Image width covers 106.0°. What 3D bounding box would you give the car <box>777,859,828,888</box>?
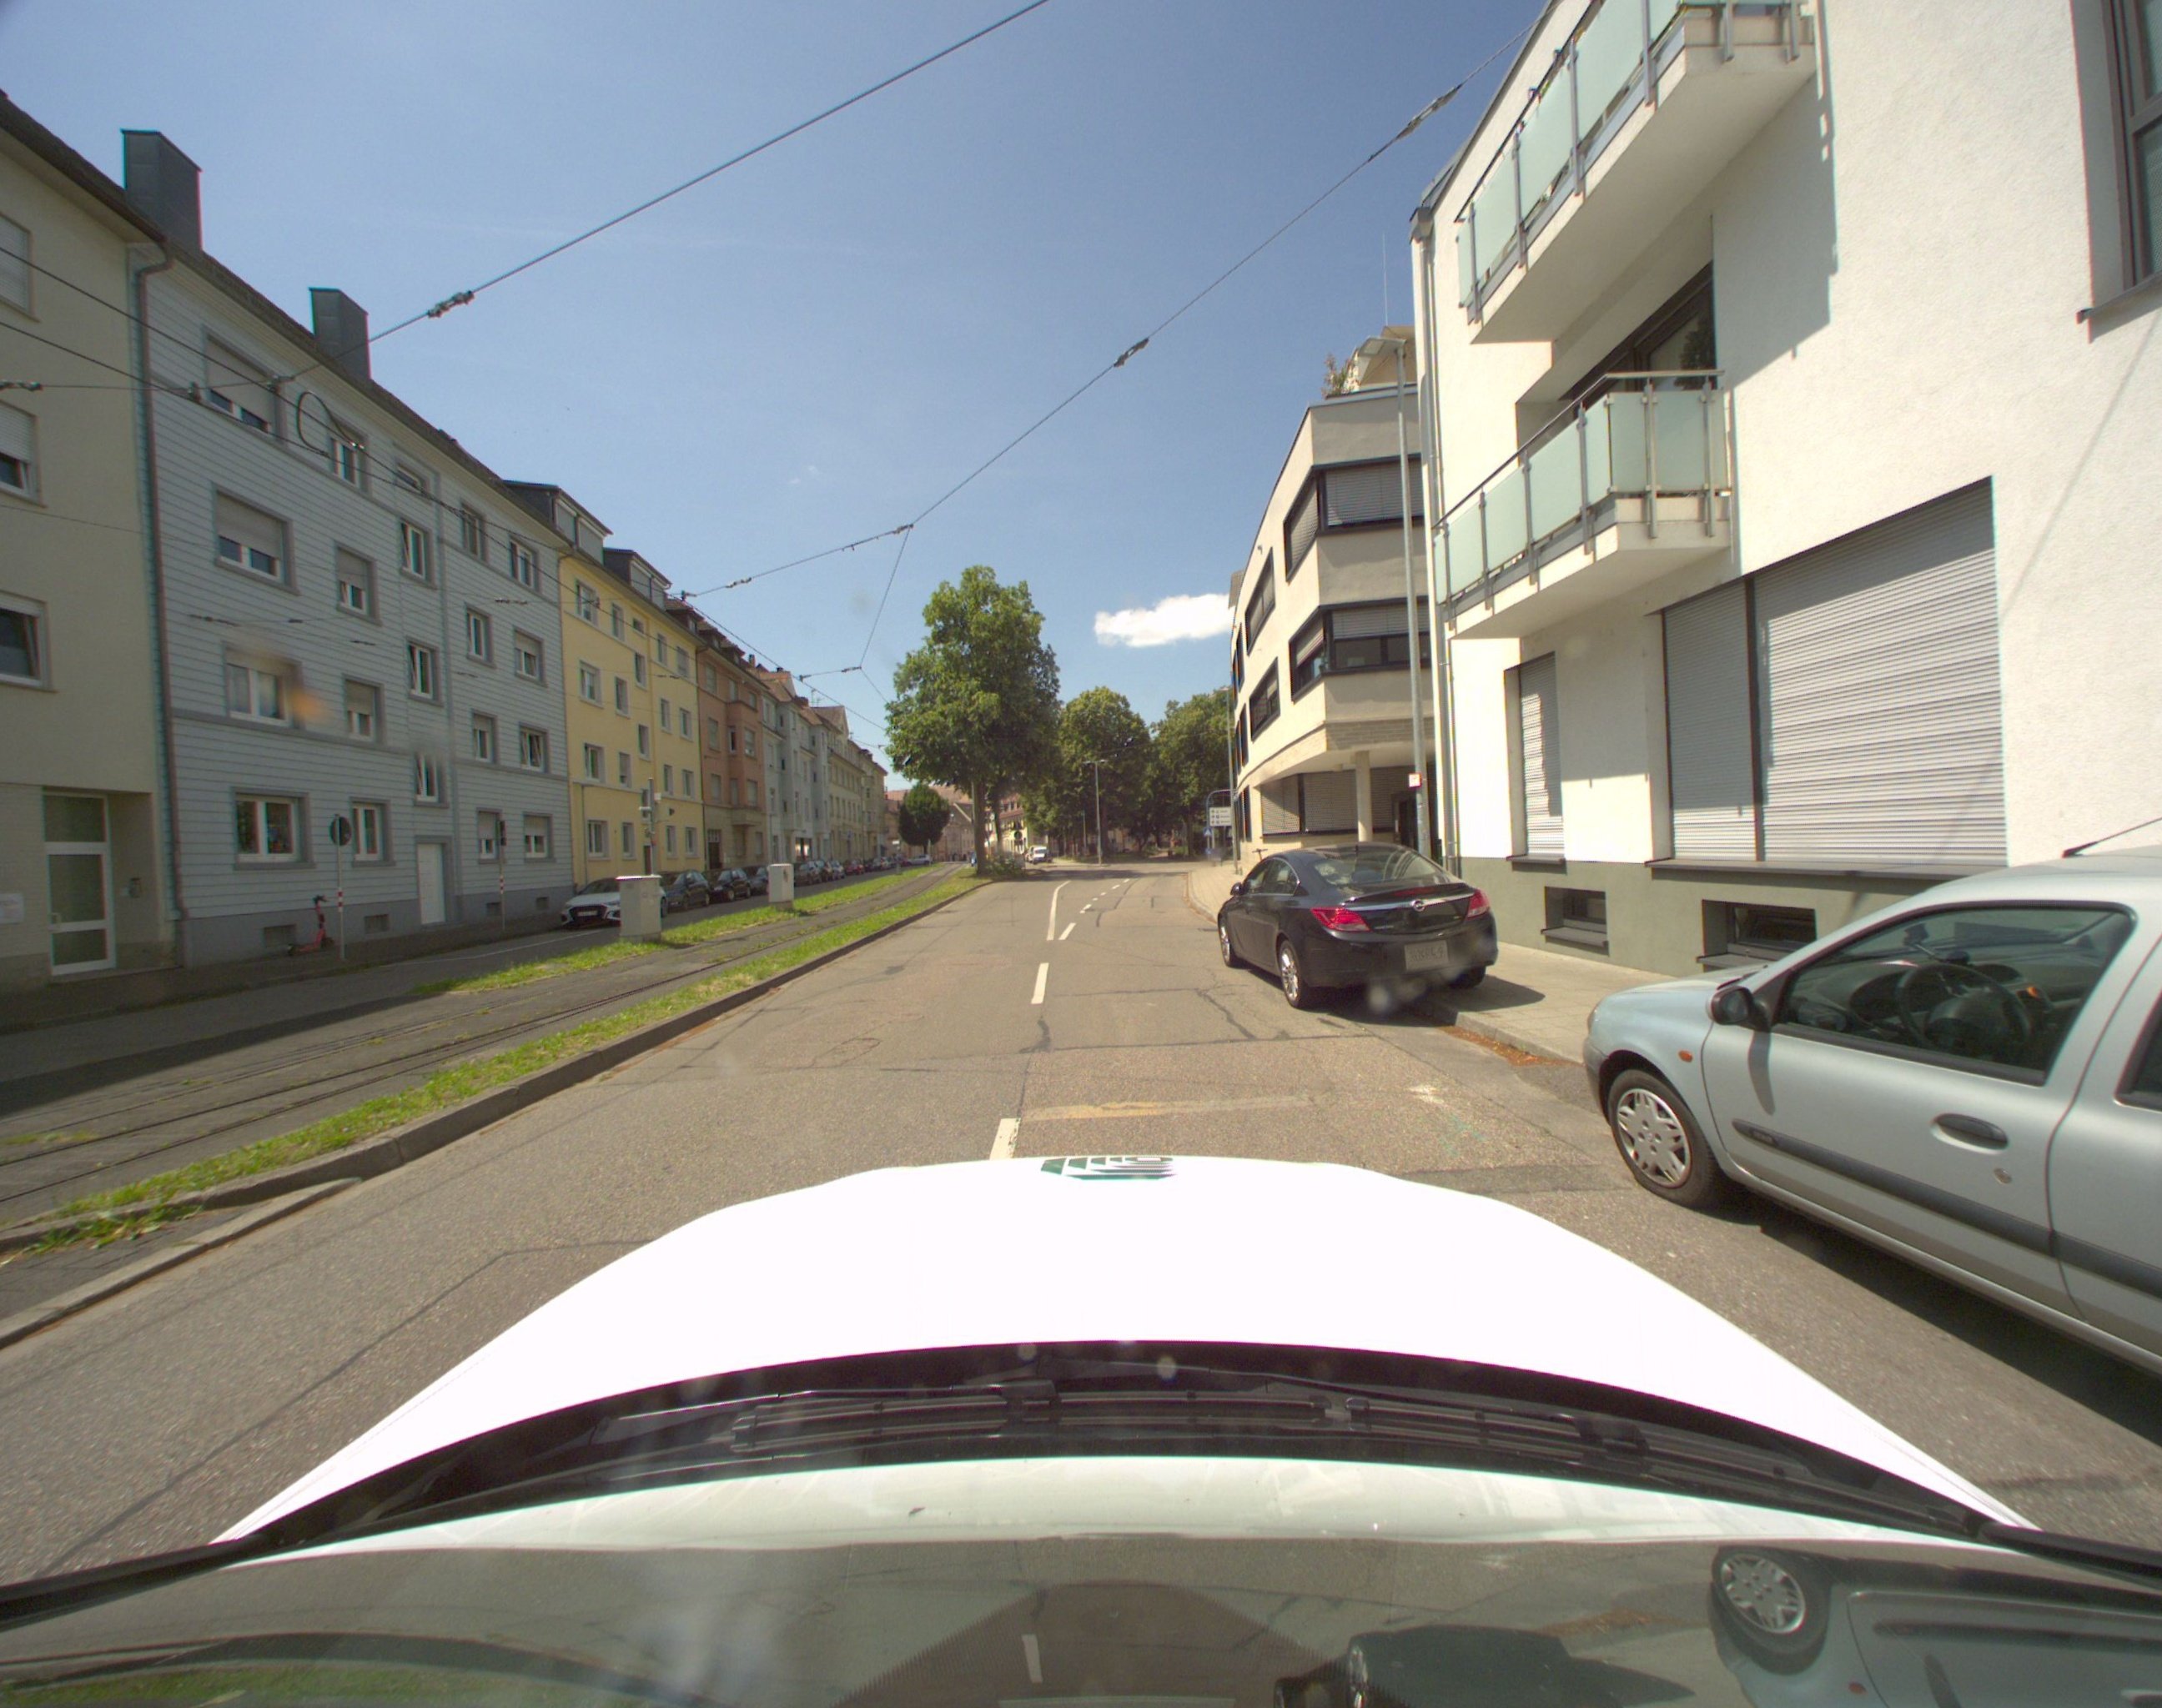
[{"bbox_3d":[-17.202,1.147,50.492,1.926,1.490,4.852,-4,1,-7],"label":"car"}]

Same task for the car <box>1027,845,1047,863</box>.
[{"bbox_3d":[-5.129,-0.050,93.916,2.046,2.002,5.239,-2,1,-6],"label":"car"}]

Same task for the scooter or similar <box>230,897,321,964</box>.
[{"bbox_3d":[-16.530,1.548,16.753,0.637,1.223,1.317,-2,0,-7],"label":"scooter or similar"}]

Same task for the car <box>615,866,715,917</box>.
[{"bbox_3d":[-15.217,1.325,30.080,1.927,1.505,4.313,-4,1,-9],"label":"car"}]

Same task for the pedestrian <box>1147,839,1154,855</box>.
[{"bbox_3d":[8.306,-0.852,97.230,0.743,1.910,0.686,-2,2,8],"label":"pedestrian"}]

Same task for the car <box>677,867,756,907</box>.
[{"bbox_3d":[-15.520,1.366,34.913,1.829,1.400,4.133,-4,1,-7],"label":"car"}]

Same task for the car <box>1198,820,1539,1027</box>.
[{"bbox_3d":[2.716,0.574,8.984,1.796,1.509,4.542,-6,0,-3],"label":"car"}]

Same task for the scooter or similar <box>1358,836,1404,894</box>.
[{"bbox_3d":[6.630,0.224,18.044,0.421,1.211,1.313,-3,1,-3],"label":"scooter or similar"}]

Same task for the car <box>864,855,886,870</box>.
[{"bbox_3d":[-21.674,0.870,85.659,1.685,1.360,3.848,-4,1,-7],"label":"car"}]

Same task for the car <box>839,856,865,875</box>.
[{"bbox_3d":[-19.851,1.001,70.724,1.570,1.451,3.617,-4,1,-7],"label":"car"}]

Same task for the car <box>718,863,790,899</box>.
[{"bbox_3d":[-16.142,1.300,40.425,1.925,1.397,4.853,-4,1,-6],"label":"car"}]

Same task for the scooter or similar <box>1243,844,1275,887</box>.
[{"bbox_3d":[5.540,0.339,25.381,0.580,1.260,1.367,-5,0,-1],"label":"scooter or similar"}]

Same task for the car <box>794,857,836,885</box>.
[{"bbox_3d":[-18.103,1.111,55.681,1.835,1.685,4.132,-4,1,-7],"label":"car"}]

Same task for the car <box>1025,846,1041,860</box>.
[{"bbox_3d":[-6.043,-0.168,101.434,1.781,1.623,4.477,-2,1,-6],"label":"car"}]

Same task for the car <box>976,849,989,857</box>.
[{"bbox_3d":[-18.142,-0.200,150.263,1.863,1.486,3.982,-2,1,-13],"label":"car"}]

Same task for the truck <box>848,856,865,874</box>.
[{"bbox_3d":[-20.644,0.984,74.935,1.125,1.494,2.587,-4,1,-8],"label":"truck"}]

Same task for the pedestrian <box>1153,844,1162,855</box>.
[{"bbox_3d":[9.149,-0.551,97.167,0.900,1.251,1.151,-2,2,8],"label":"pedestrian"}]

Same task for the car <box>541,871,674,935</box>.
[{"bbox_3d":[-14.219,1.398,24.775,1.927,1.451,4.363,-5,1,-9],"label":"car"}]

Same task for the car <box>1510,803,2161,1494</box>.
[{"bbox_3d":[3.102,0.623,2.325,1.588,1.433,3.704,-6,0,-2],"label":"car"}]

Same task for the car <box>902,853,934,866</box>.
[{"bbox_3d":[-23.205,0.785,116.042,4.205,1.504,1.996,-5,1,-11],"label":"car"}]

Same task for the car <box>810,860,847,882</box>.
[{"bbox_3d":[-18.665,1.224,60.313,1.806,1.356,4.240,-4,1,-7],"label":"car"}]

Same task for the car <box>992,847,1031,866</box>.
[{"bbox_3d":[-5.969,0.214,69.657,1.913,1.533,4.208,-2,1,-25],"label":"car"}]

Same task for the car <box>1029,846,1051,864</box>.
[{"bbox_3d":[-4.342,0.068,85.484,1.992,1.826,4.411,-2,1,-7],"label":"car"}]

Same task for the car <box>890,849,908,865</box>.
[{"bbox_3d":[-24.575,0.343,110.059,1.852,1.911,4.760,-4,1,-7],"label":"car"}]

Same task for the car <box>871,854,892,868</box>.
[{"bbox_3d":[-22.372,0.771,91.303,1.685,1.390,3.848,-4,1,-7],"label":"car"}]
